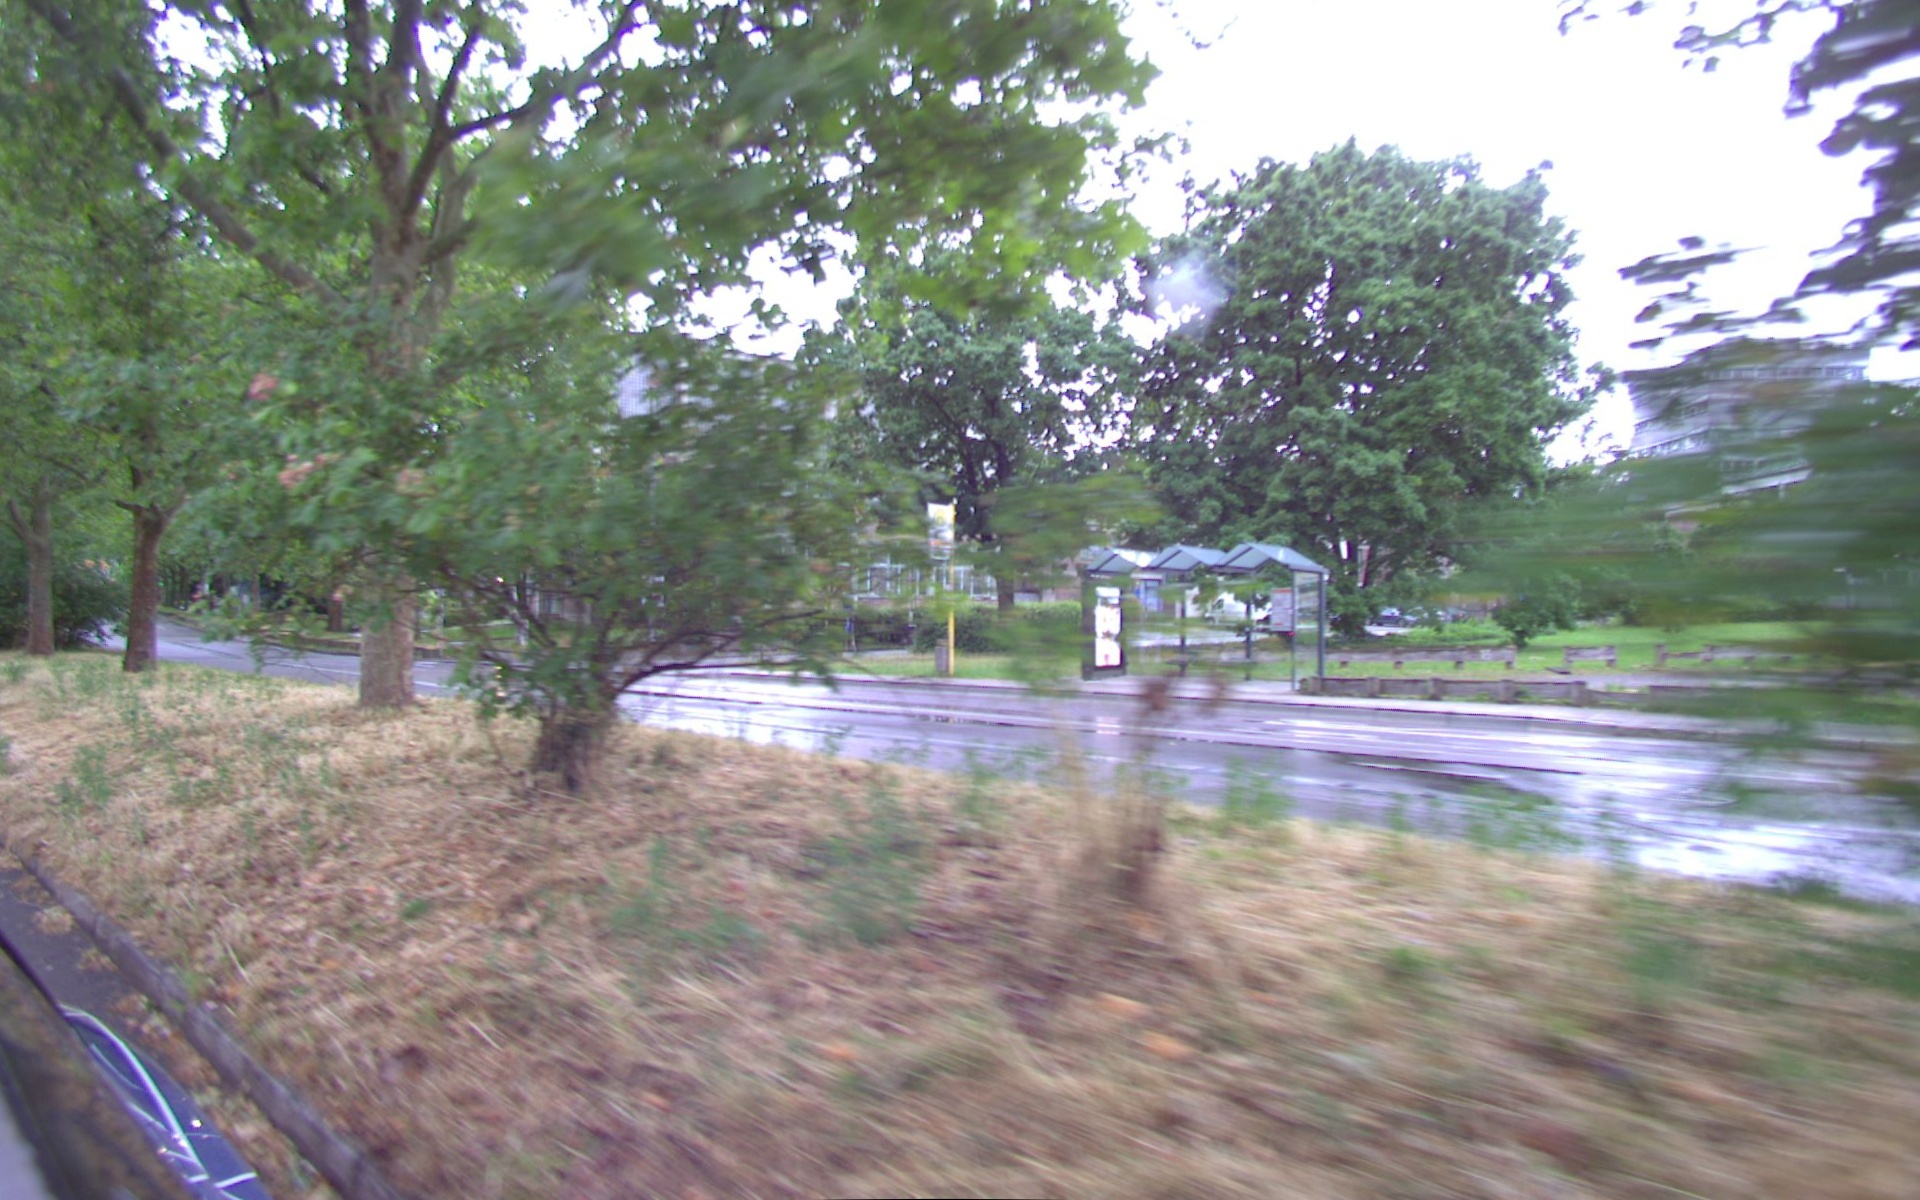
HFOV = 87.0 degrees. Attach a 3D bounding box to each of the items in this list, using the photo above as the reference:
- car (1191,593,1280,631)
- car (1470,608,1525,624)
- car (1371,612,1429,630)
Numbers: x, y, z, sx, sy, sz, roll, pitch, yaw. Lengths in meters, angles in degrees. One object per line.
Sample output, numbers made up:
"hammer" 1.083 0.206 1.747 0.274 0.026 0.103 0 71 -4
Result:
"car" 17.405 0.690 64.187 2.080 2.229 5.483 -1 1 -33
"car" 43.525 1.293 82.007 1.566 1.151 3.564 -1 1 -37
"car" 31.805 1.523 73.182 1.566 1.151 3.564 -1 1 -37
